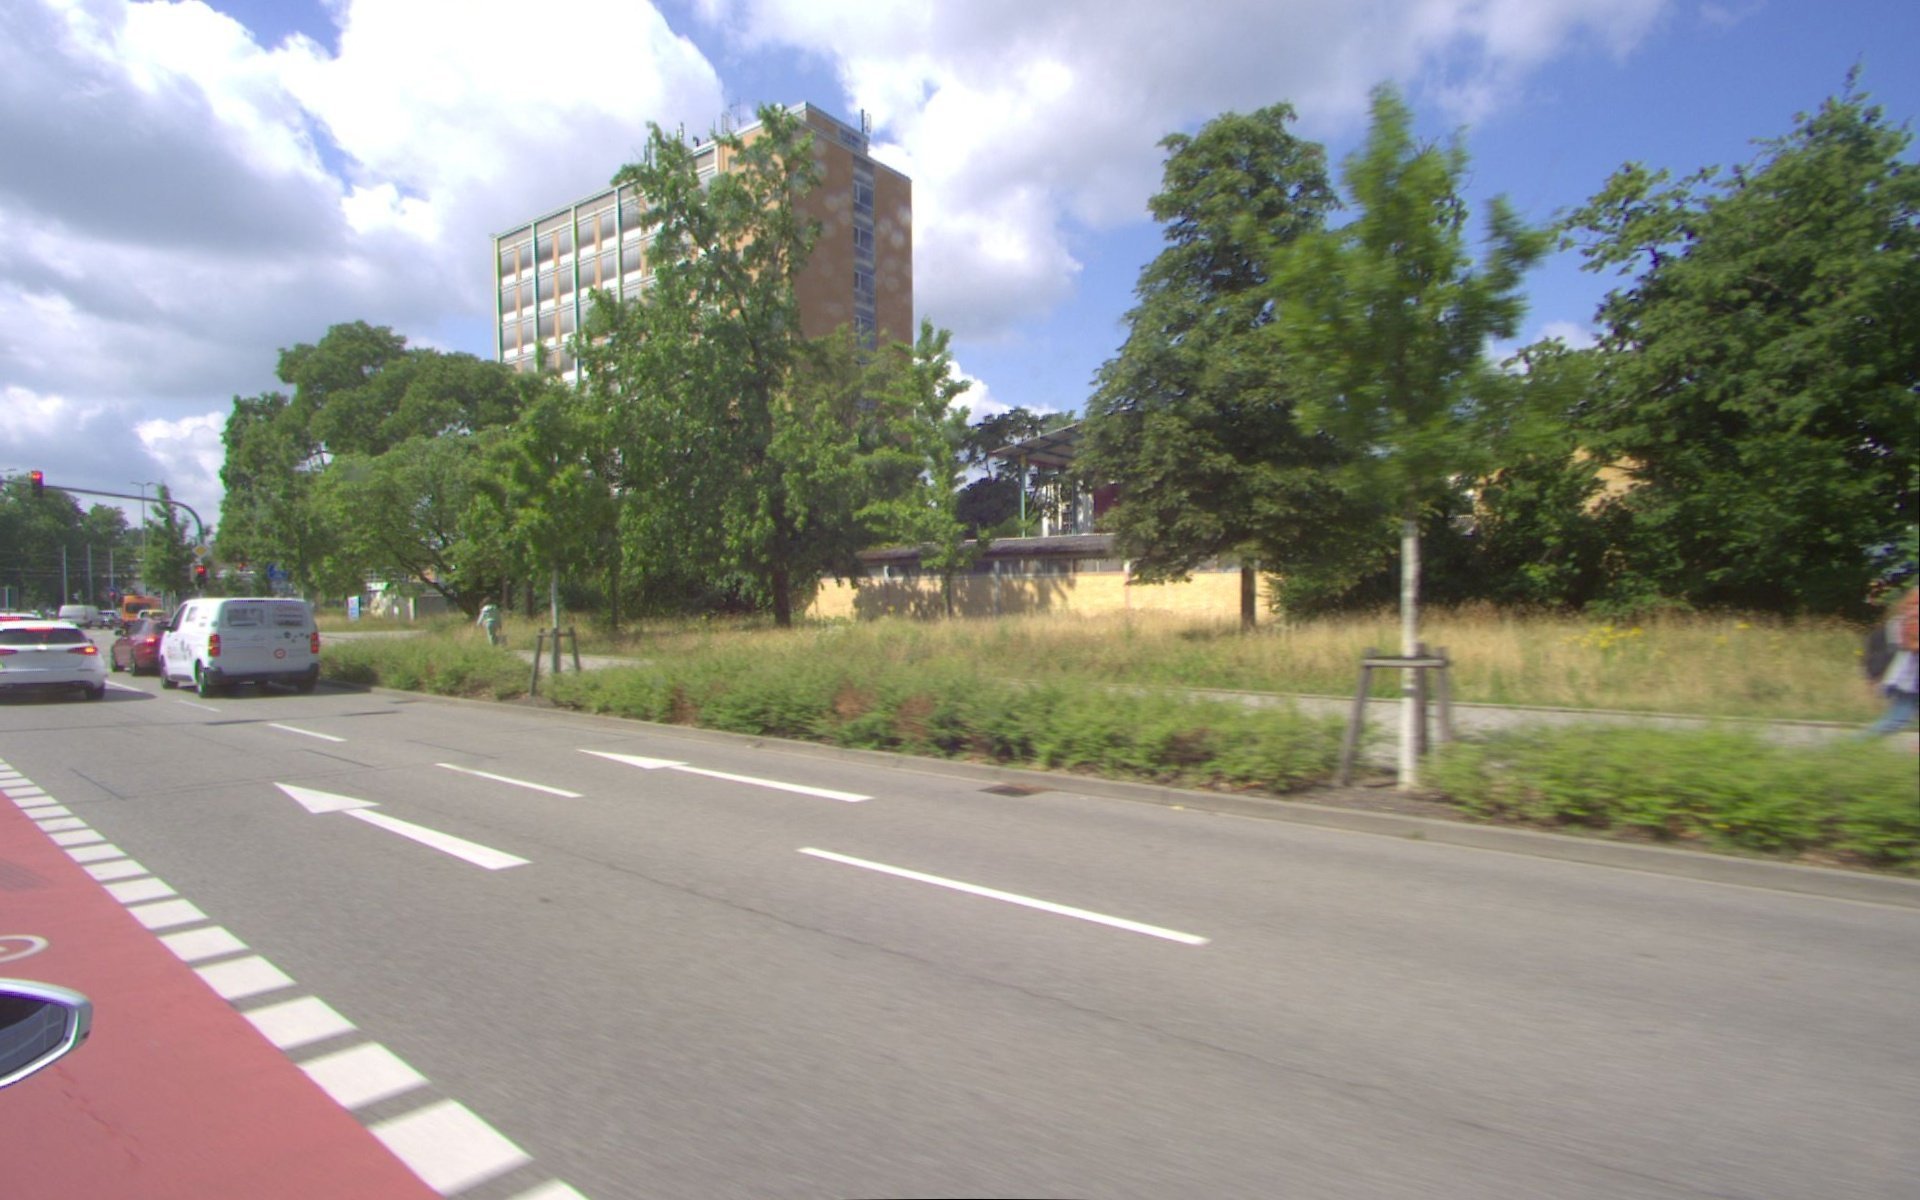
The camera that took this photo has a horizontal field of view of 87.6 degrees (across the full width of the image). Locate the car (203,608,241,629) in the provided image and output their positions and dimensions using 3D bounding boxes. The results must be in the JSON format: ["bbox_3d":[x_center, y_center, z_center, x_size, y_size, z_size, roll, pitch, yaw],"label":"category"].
[{"bbox_3d":[-70.536,1.758,95.803,1.966,1.964,4.621,-1,0,-24],"label":"car"}]

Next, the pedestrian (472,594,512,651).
[{"bbox_3d":[-14.022,0.659,30.008,0.713,1.660,0.863,0,1,43],"label":"pedestrian"}]

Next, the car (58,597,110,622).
[{"bbox_3d":[-73.663,0.807,84.318,1.980,1.993,4.621,-1,0,-24],"label":"car"}]

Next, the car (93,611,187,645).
[{"bbox_3d":[-46.543,1.611,56.957,1.961,1.838,4.003,1,-2,0],"label":"car"}]

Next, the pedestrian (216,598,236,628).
[{"bbox_3d":[-38.124,0.675,52.018,0.765,1.528,0.546,-1,1,-44],"label":"pedestrian"}]

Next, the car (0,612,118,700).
[{"bbox_3d":[-17.469,0.974,18.876,4.335,1.443,1.894,0,0,42],"label":"car"}]

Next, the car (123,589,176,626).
[{"bbox_3d":[-64.535,0.574,79.776,2.103,2.818,4.621,-1,1,-24],"label":"car"}]

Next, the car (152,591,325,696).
[{"bbox_3d":[-14.883,0.791,20.553,4.771,1.895,1.932,0,1,42],"label":"car"}]

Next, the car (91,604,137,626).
[{"bbox_3d":[-77.577,1.351,91.925,1.966,1.964,4.621,-1,0,-24],"label":"car"}]

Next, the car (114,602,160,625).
[{"bbox_3d":[-70.041,1.131,85.292,1.967,1.851,3.986,-1,0,-23],"label":"car"}]

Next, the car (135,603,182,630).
[{"bbox_3d":[-57.941,1.170,72.482,1.971,1.819,3.979,-1,0,-30],"label":"car"}]

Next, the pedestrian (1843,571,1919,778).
[{"bbox_3d":[7.564,0.575,8.024,0.700,1.602,0.620,1,1,41],"label":"pedestrian"}]

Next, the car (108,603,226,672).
[{"bbox_3d":[-20.762,0.904,26.161,4.412,1.663,1.672,0,0,42],"label":"car"}]

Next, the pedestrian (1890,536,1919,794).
[{"bbox_3d":[7.103,0.460,7.154,0.631,1.826,0.564,1,1,41],"label":"pedestrian"}]

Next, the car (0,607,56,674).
[{"bbox_3d":[-23.696,0.950,24.619,3.966,1.559,1.782,0,-1,42],"label":"car"}]
